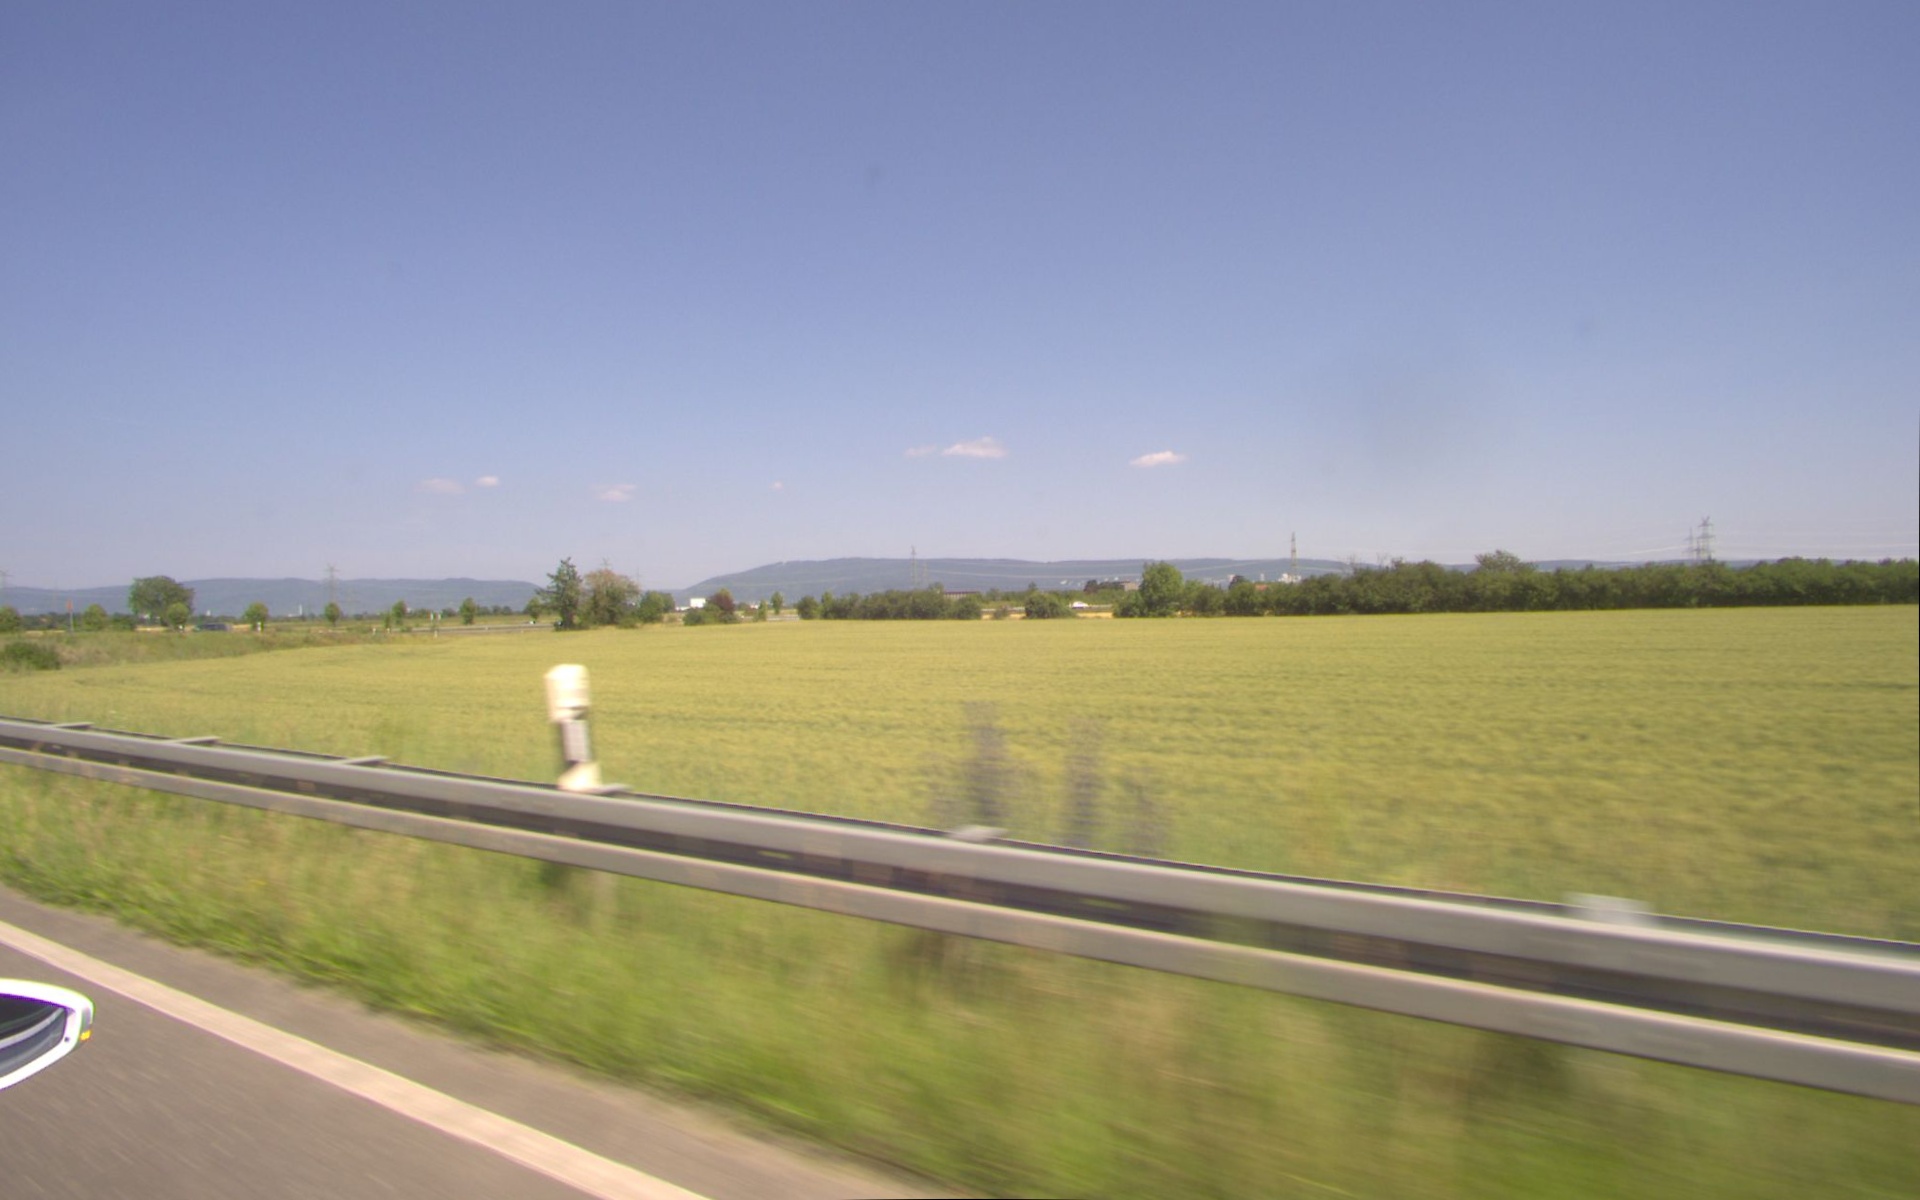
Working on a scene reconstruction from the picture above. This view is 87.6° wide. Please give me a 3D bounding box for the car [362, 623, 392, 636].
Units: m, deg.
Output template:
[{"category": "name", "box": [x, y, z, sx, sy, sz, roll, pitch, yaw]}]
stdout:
[{"category": "car", "box": [-70.461, 3.601, 121.052, 1.617, 1.505, 3.486, -1, -2, 1]}]
